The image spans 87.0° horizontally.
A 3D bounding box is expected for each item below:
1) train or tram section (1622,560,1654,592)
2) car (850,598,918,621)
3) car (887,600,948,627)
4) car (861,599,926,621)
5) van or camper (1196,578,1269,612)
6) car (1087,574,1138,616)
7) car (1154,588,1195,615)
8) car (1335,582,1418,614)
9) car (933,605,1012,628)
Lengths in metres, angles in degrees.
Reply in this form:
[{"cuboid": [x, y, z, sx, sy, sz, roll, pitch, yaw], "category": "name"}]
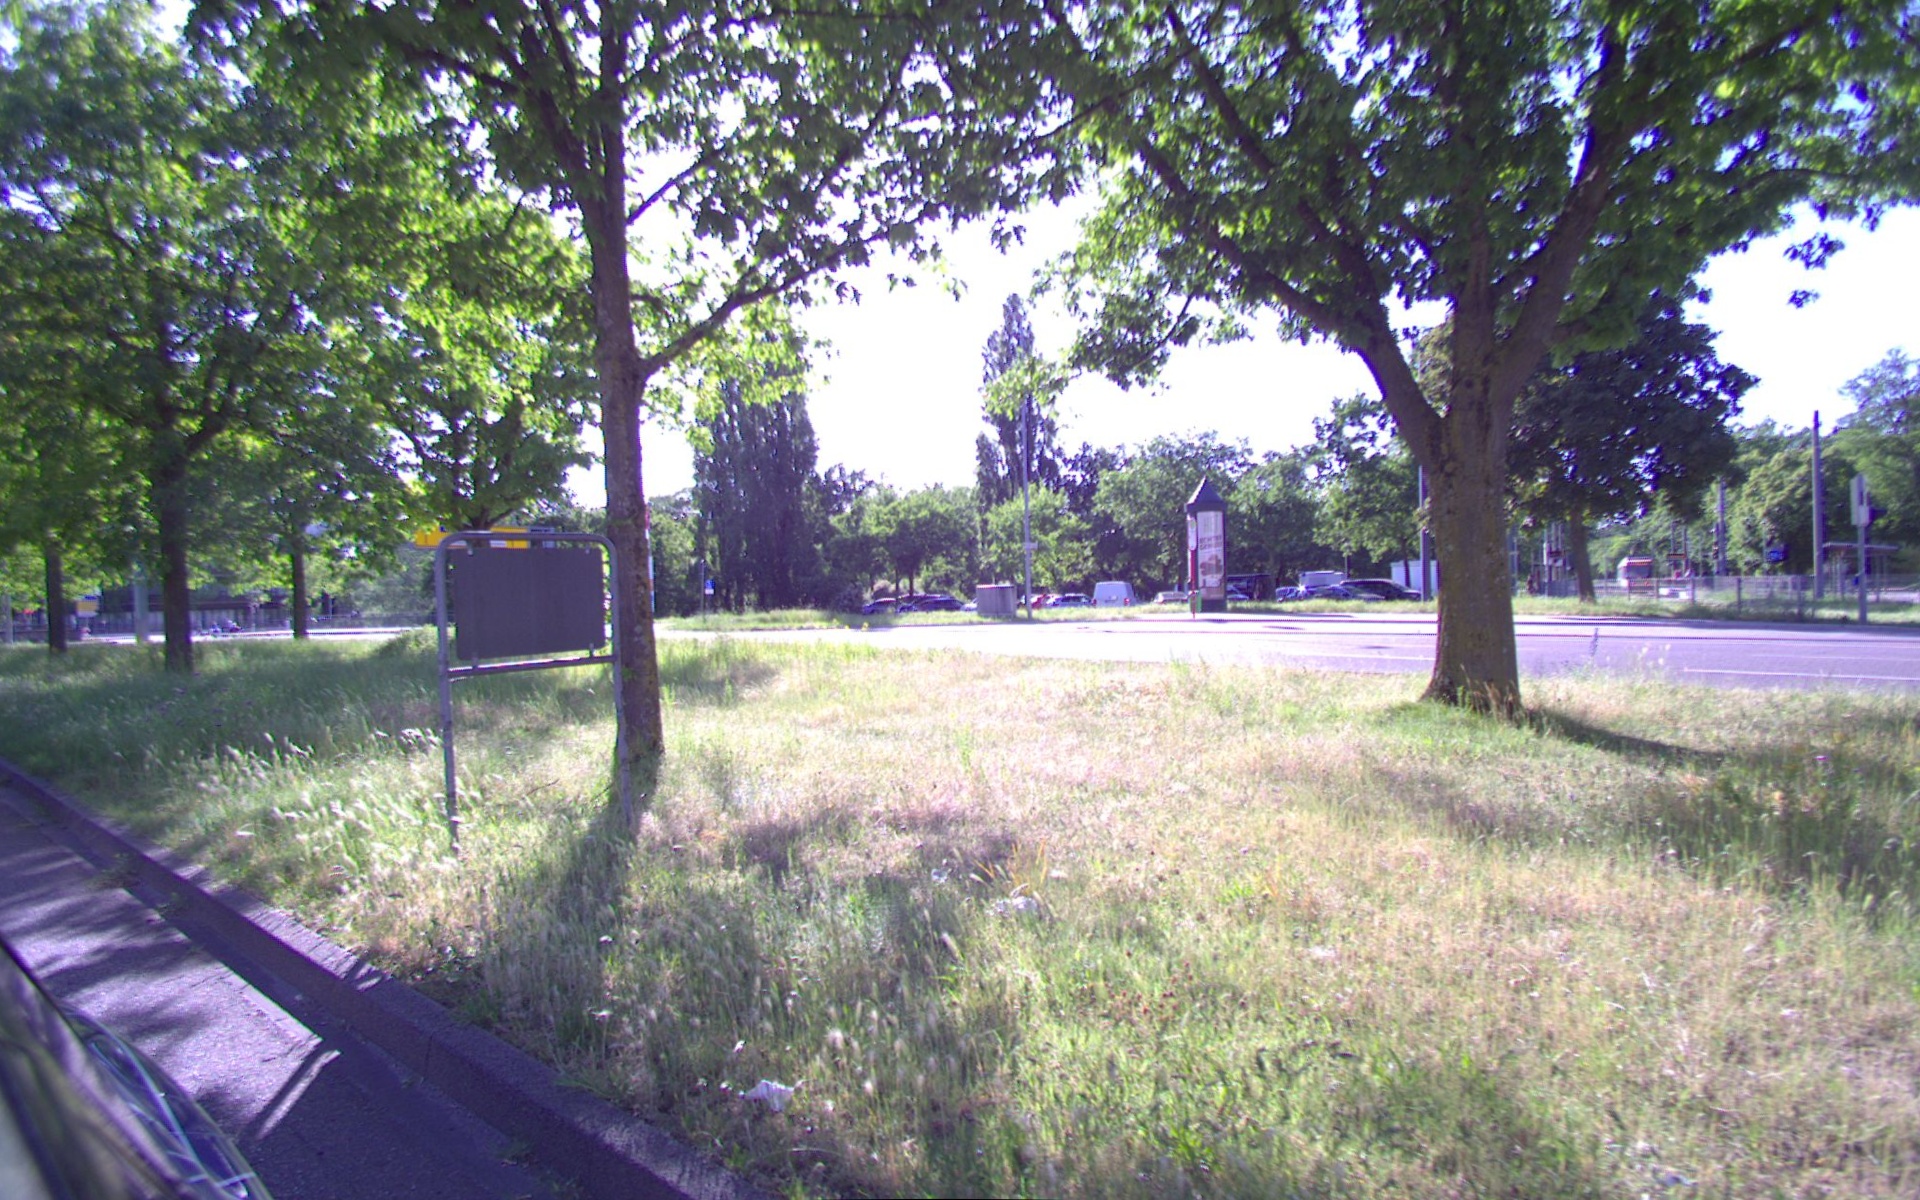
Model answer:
[{"cuboid": [68.884, -2.496, 102.787, 2.463, 2.962, 19.615, -2, 0, 34], "category": "train or tram section"}, {"cuboid": [-5.465, 0.665, 72.617, 4.506, 1.475, 1.994, -2, 2, 10], "category": "car"}, {"cuboid": [-2.540, 0.797, 59.202, 1.791, 1.459, 4.012, -2, 0, -31], "category": "car"}, {"cuboid": [-4.984, 0.733, 76.216, 4.506, 1.475, 1.994, -2, 2, 10], "category": "car"}, {"cuboid": [18.014, -0.315, 67.110, 1.967, 2.112, 4.413, -2, 0, -34], "category": "van or camper"}, {"cuboid": [8.158, -0.260, 53.679, 2.217, 2.029, 4.978, -2, 0, 13], "category": "car"}, {"cuboid": [11.120, 0.044, 52.381, 1.980, 1.292, 3.983, -2, 0, 13], "category": "car"}, {"cuboid": [22.693, -0.097, 55.144, 3.982, 1.579, 1.981, -2, 0, 29], "category": "car"}, {"cuboid": [0.667, 0.899, 55.850, 3.988, 1.137, 1.802, -2, 0, 33], "category": "car"}]
